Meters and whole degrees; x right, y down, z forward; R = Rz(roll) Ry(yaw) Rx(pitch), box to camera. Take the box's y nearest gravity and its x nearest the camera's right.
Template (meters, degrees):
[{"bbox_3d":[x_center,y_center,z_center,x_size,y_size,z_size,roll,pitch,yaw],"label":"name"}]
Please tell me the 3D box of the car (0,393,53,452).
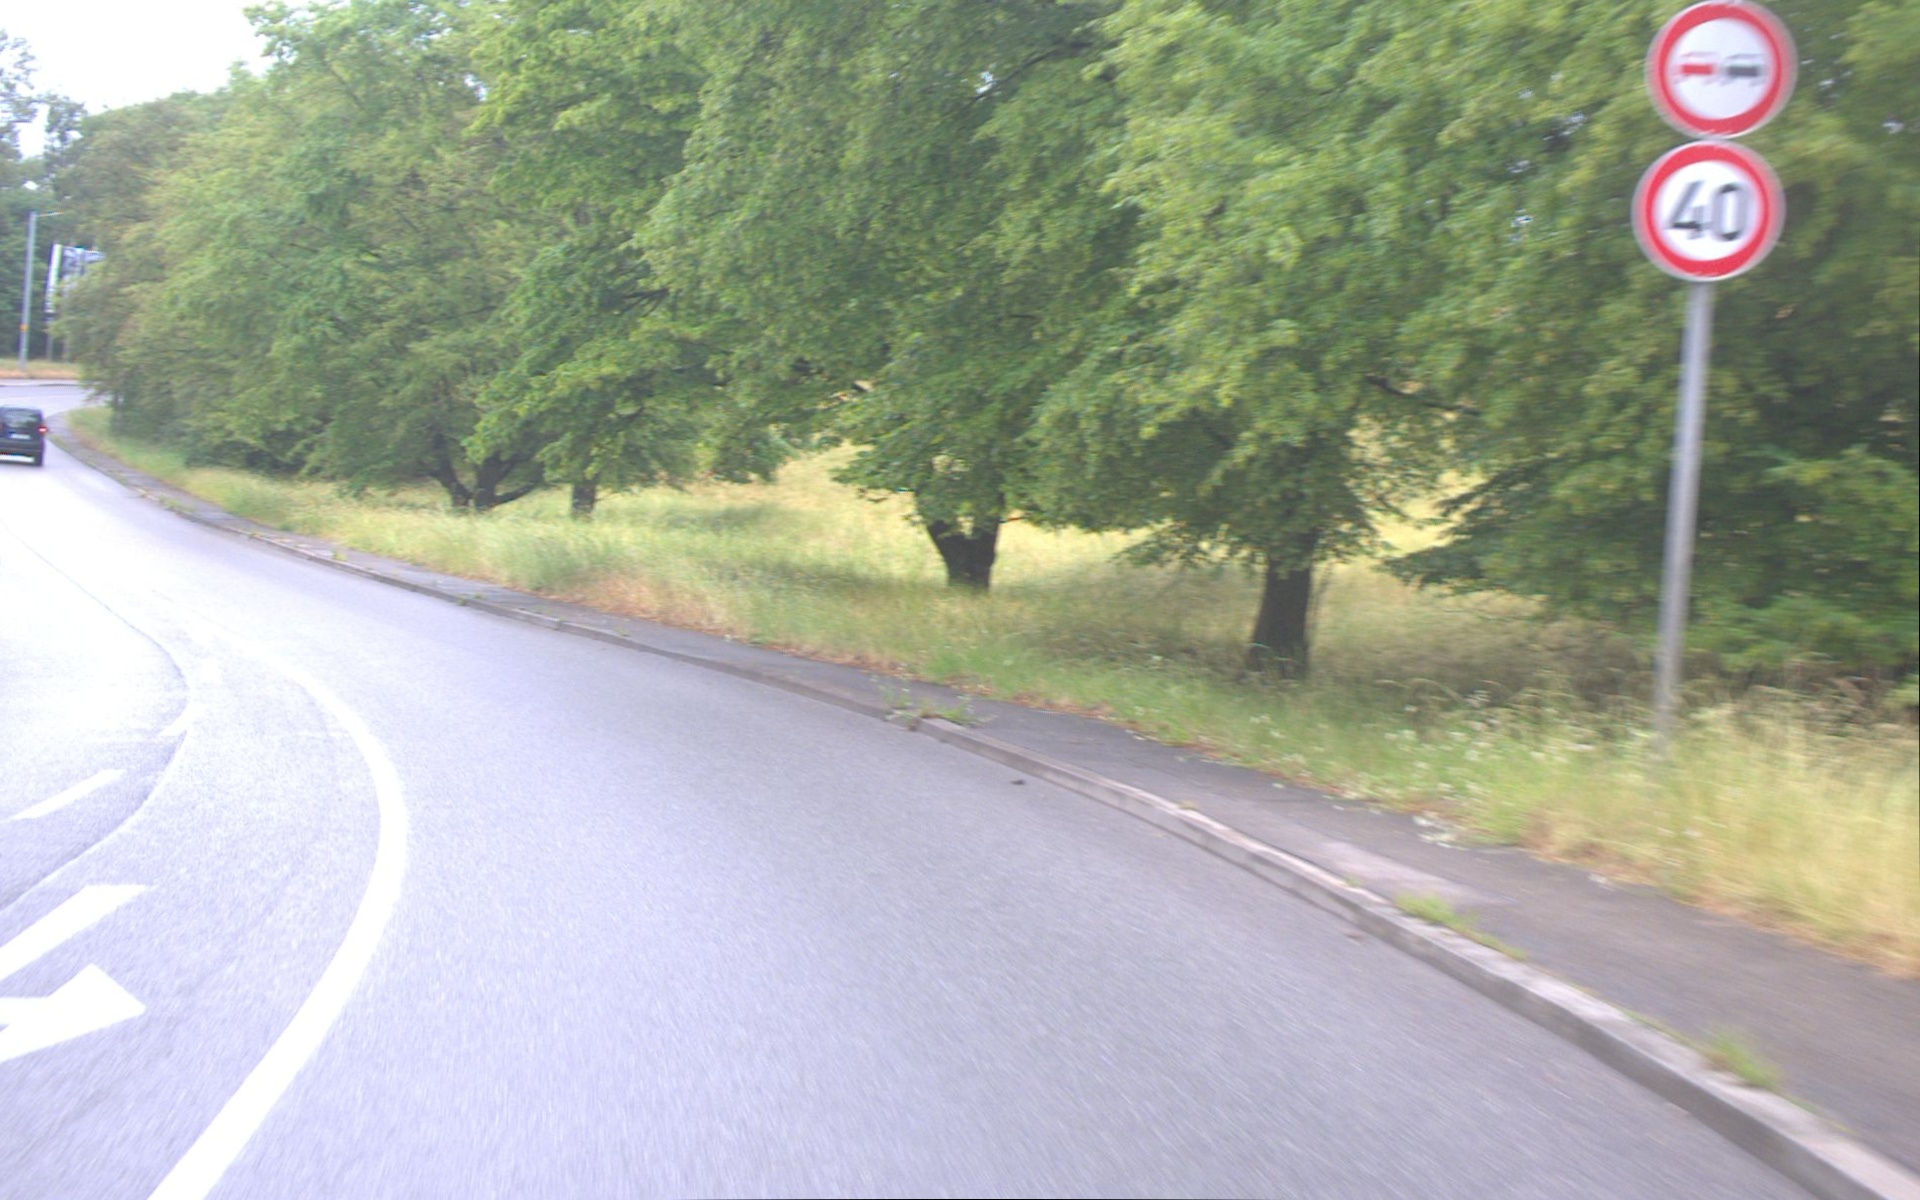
[{"bbox_3d":[-29.986,-5.686,109.674,1.741,1.711,4.002,4,2,-17],"label":"car"}]
